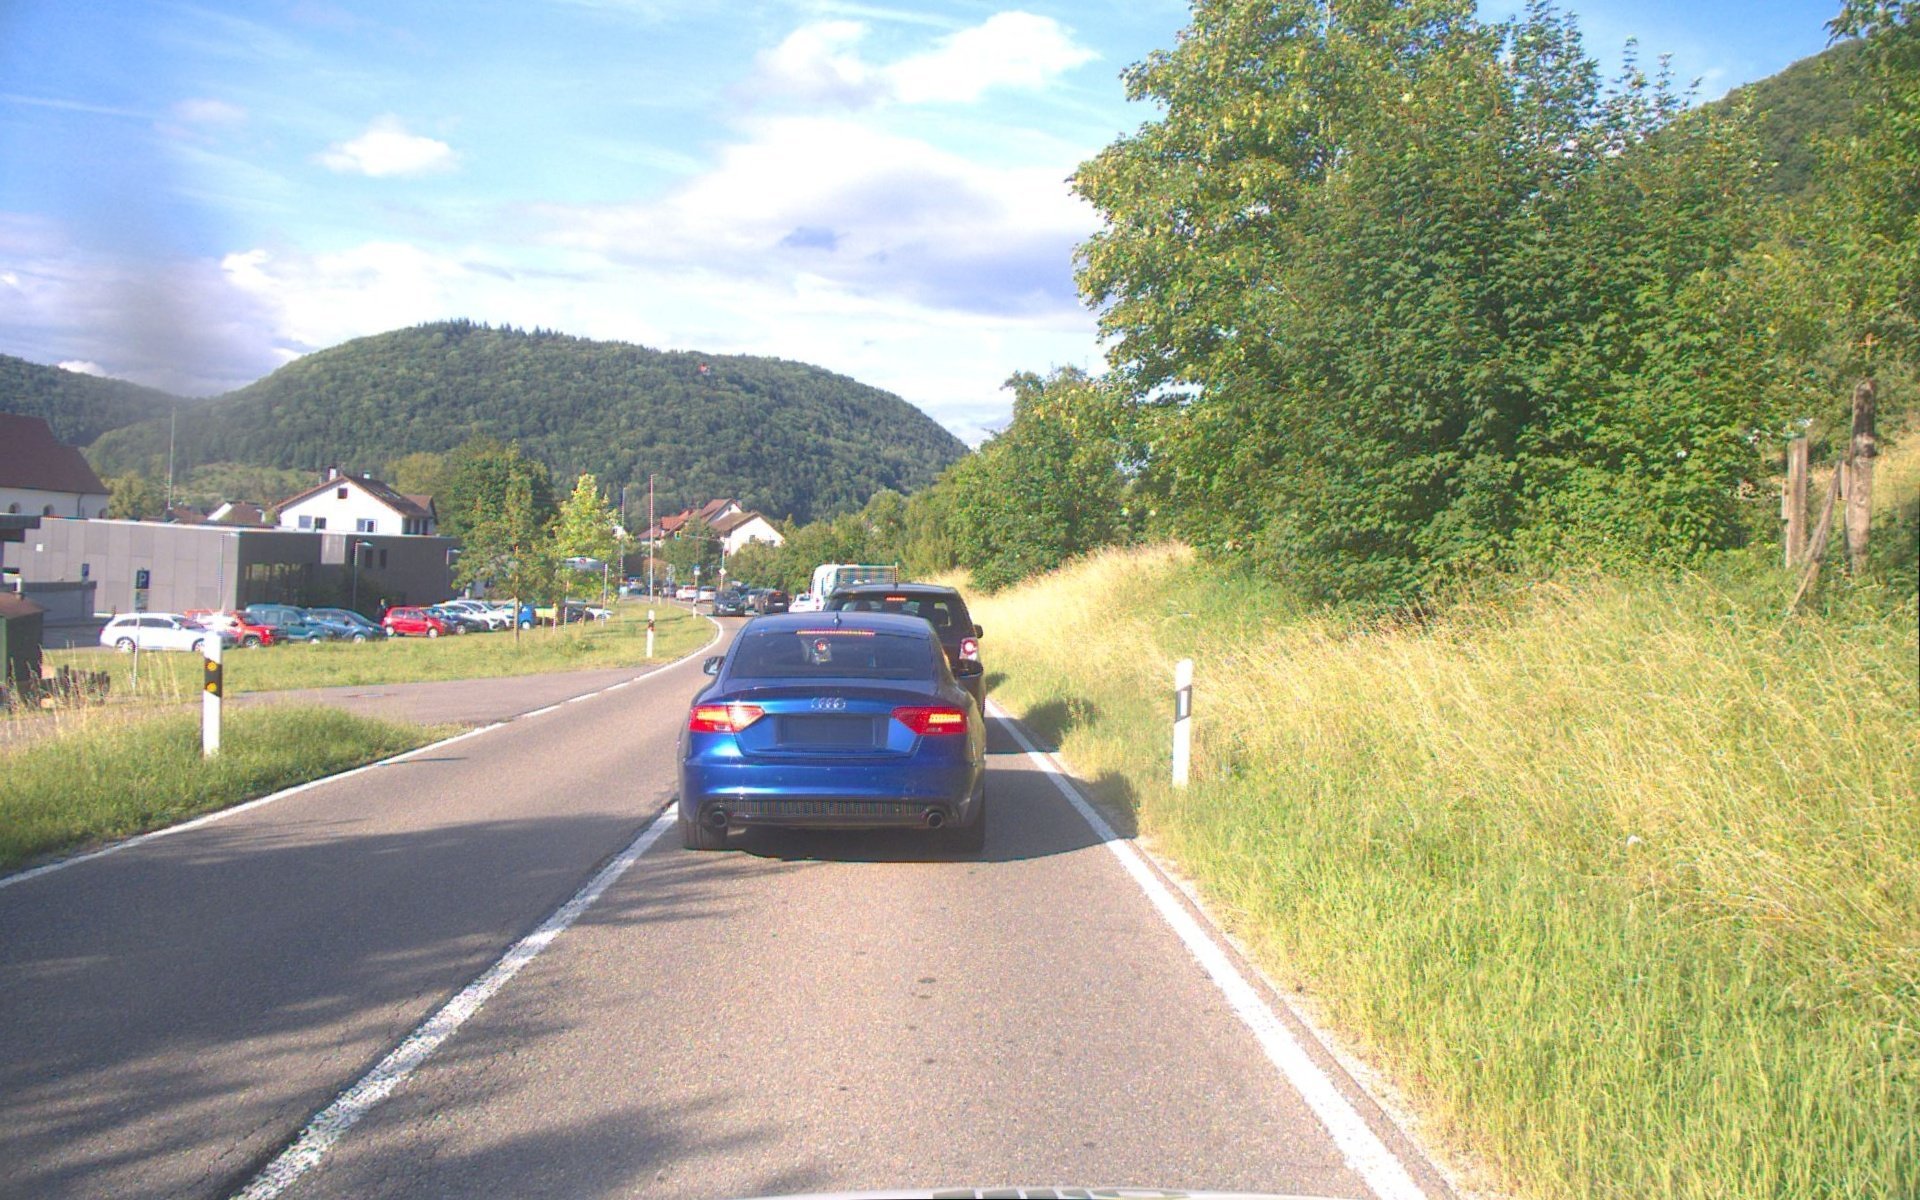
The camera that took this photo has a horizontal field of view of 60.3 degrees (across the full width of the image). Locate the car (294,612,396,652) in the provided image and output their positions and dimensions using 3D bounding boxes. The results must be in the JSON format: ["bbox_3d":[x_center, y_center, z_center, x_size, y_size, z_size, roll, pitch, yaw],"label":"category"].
[{"bbox_3d":[-27.944,1.432,75.260,3.908,1.741,1.998,1,0,-4],"label":"car"}]

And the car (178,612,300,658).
[{"bbox_3d":[-28.459,1.367,65.397,3.908,1.741,1.998,1,0,-4],"label":"car"}]

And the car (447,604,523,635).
[{"bbox_3d":[-27.981,1.153,97.514,3.908,1.741,1.998,1,0,-4],"label":"car"}]

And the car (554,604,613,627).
[{"bbox_3d":[-27.313,1.149,120.178,3.908,1.606,1.751,1,0,-4],"label":"car"}]

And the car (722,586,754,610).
[{"bbox_3d":[-16.610,-0.141,123.683,1.815,1.742,3.983,1,0,-15],"label":"car"}]

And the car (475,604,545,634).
[{"bbox_3d":[-28.082,1.184,103.299,3.908,1.741,1.998,1,0,-4],"label":"car"}]

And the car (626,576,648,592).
[{"bbox_3d":[-36.894,-1.770,188.839,1.818,1.742,3.977,1,0,-19],"label":"car"}]

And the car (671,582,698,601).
[{"bbox_3d":[-25.600,-0.785,153.818,1.818,1.742,3.977,1,0,-19],"label":"car"}]

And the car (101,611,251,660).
[{"bbox_3d":[-29.483,1.331,62.277,4.637,1.741,1.998,1,0,-4],"label":"car"}]

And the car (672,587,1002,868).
[{"bbox_3d":[-0.668,0.684,10.658,1.718,1.455,3.846,1,0,-1],"label":"car"}]

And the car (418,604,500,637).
[{"bbox_3d":[-27.422,1.124,90.588,3.908,1.741,1.998,1,0,-4],"label":"car"}]

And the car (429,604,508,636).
[{"bbox_3d":[-27.991,1.135,94.229,3.908,1.741,1.998,1,0,-4],"label":"car"}]

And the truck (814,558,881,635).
[{"bbox_3d":[-4.178,-0.097,60.482,2.187,2.615,6.699,1,0,-6],"label":"truck"}]

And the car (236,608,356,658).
[{"bbox_3d":[-28.523,1.398,71.122,4.319,2.043,1.998,1,0,-4],"label":"car"}]

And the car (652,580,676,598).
[{"bbox_3d":[-30.005,-1.075,167.682,1.818,1.742,3.977,1,0,-19],"label":"car"}]

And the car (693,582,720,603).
[{"bbox_3d":[-21.807,-0.608,142.056,1.815,1.742,3.983,1,0,-15],"label":"car"}]

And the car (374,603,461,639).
[{"bbox_3d":[-28.181,1.085,85.991,3.908,1.741,1.998,1,0,-4],"label":"car"}]

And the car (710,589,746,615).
[{"bbox_3d":[-13.384,0.101,95.350,1.675,1.455,4.036,1,0,-14],"label":"car"}]

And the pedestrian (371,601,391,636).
[{"bbox_3d":[-34.118,1.105,97.528,0.808,2.049,0.973,1,-1,-2],"label":"pedestrian"}]

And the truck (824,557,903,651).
[{"bbox_3d":[-2.886,0.131,49.850,2.185,2.615,6.100,1,0,-3],"label":"truck"}]

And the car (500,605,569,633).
[{"bbox_3d":[-27.231,1.214,105.923,3.908,1.741,1.998,1,0,-4],"label":"car"}]

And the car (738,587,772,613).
[{"bbox_3d":[-14.425,0.005,116.278,1.815,1.742,3.983,1,0,-15],"label":"car"}]

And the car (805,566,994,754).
[{"bbox_3d":[-0.575,0.565,17.174,1.718,1.710,3.846,1,0,-1],"label":"car"}]

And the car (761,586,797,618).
[{"bbox_3d":[-10.369,0.124,94.440,1.811,1.742,3.991,1,0,-9],"label":"car"}]

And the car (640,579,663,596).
[{"bbox_3d":[-33.162,-1.351,177.722,1.818,1.742,3.977,1,0,-19],"label":"car"}]

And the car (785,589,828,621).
[{"bbox_3d":[-7.484,0.244,80.333,1.811,1.508,3.991,1,0,-9],"label":"car"}]
